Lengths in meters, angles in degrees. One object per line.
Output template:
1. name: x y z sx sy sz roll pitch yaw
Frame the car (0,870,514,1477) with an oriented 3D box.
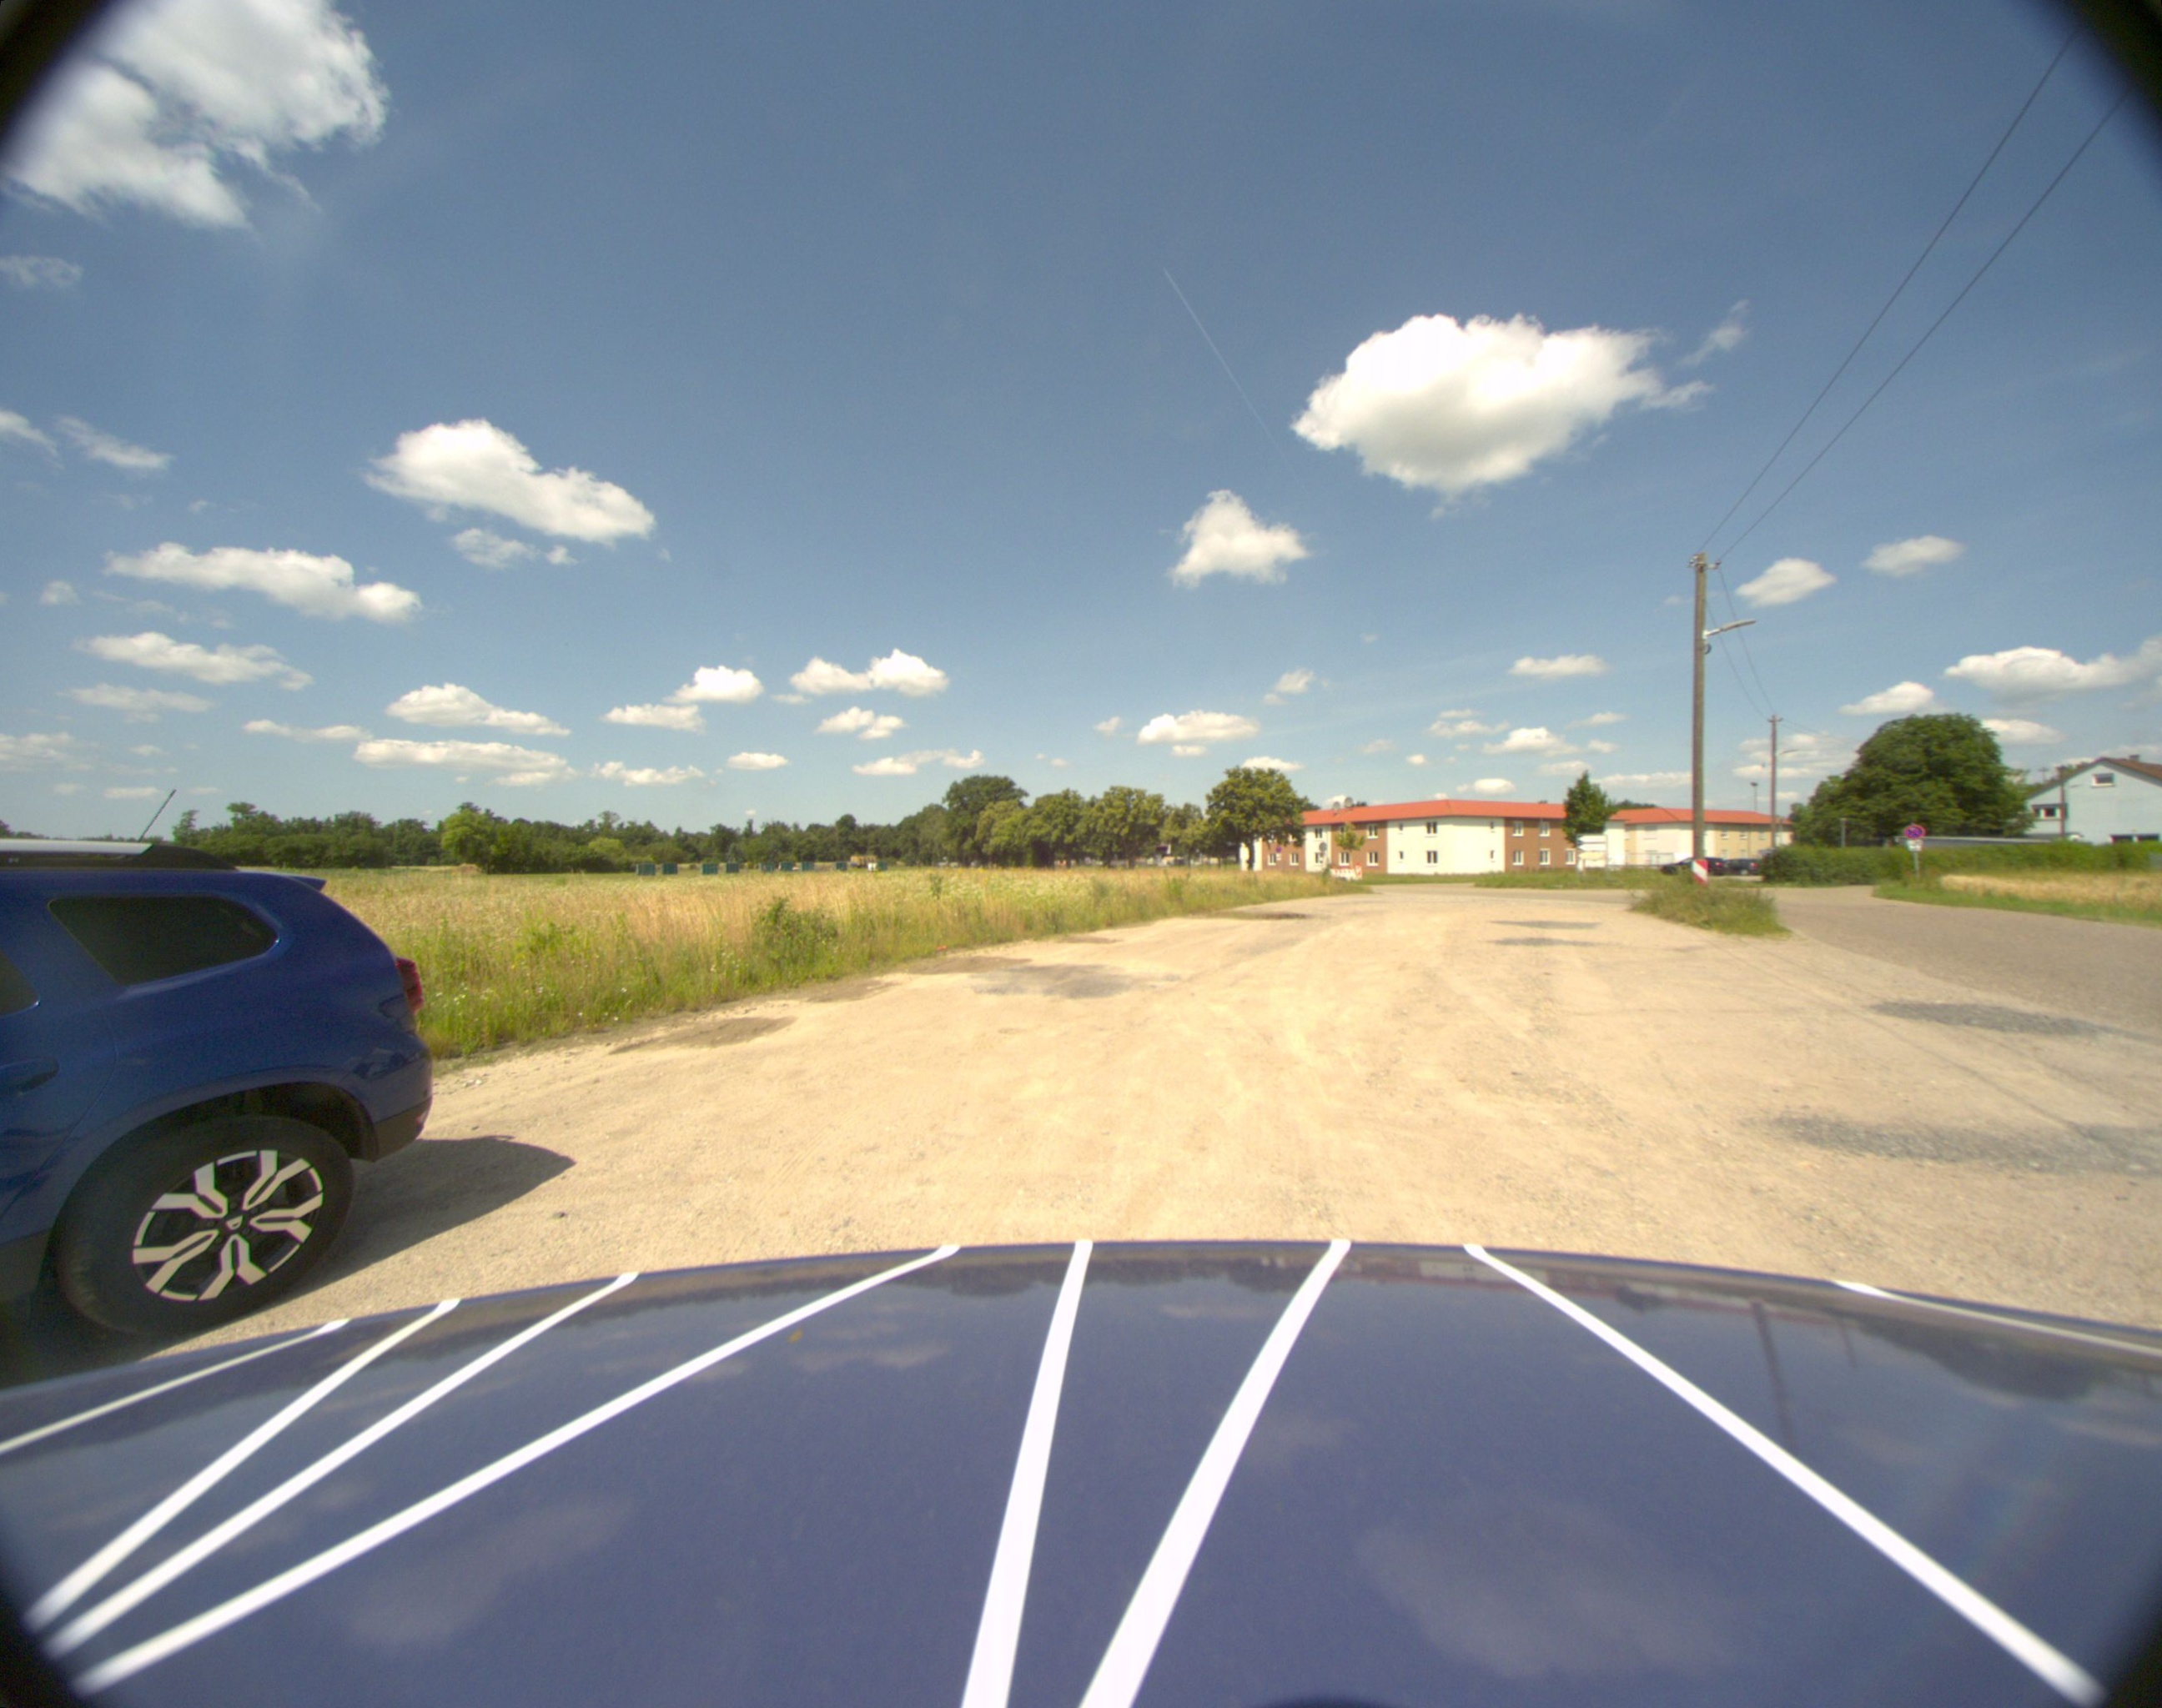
1. car: -4.206 0.953 1.620 1.860 1.651 4.464 -1 0 19

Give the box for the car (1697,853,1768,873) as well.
1. car: 55.407 0.748 64.739 2.003 1.605 4.140 0 0 -26

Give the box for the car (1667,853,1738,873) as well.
1. car: 51.713 0.728 63.338 2.003 1.605 4.140 0 0 -26
